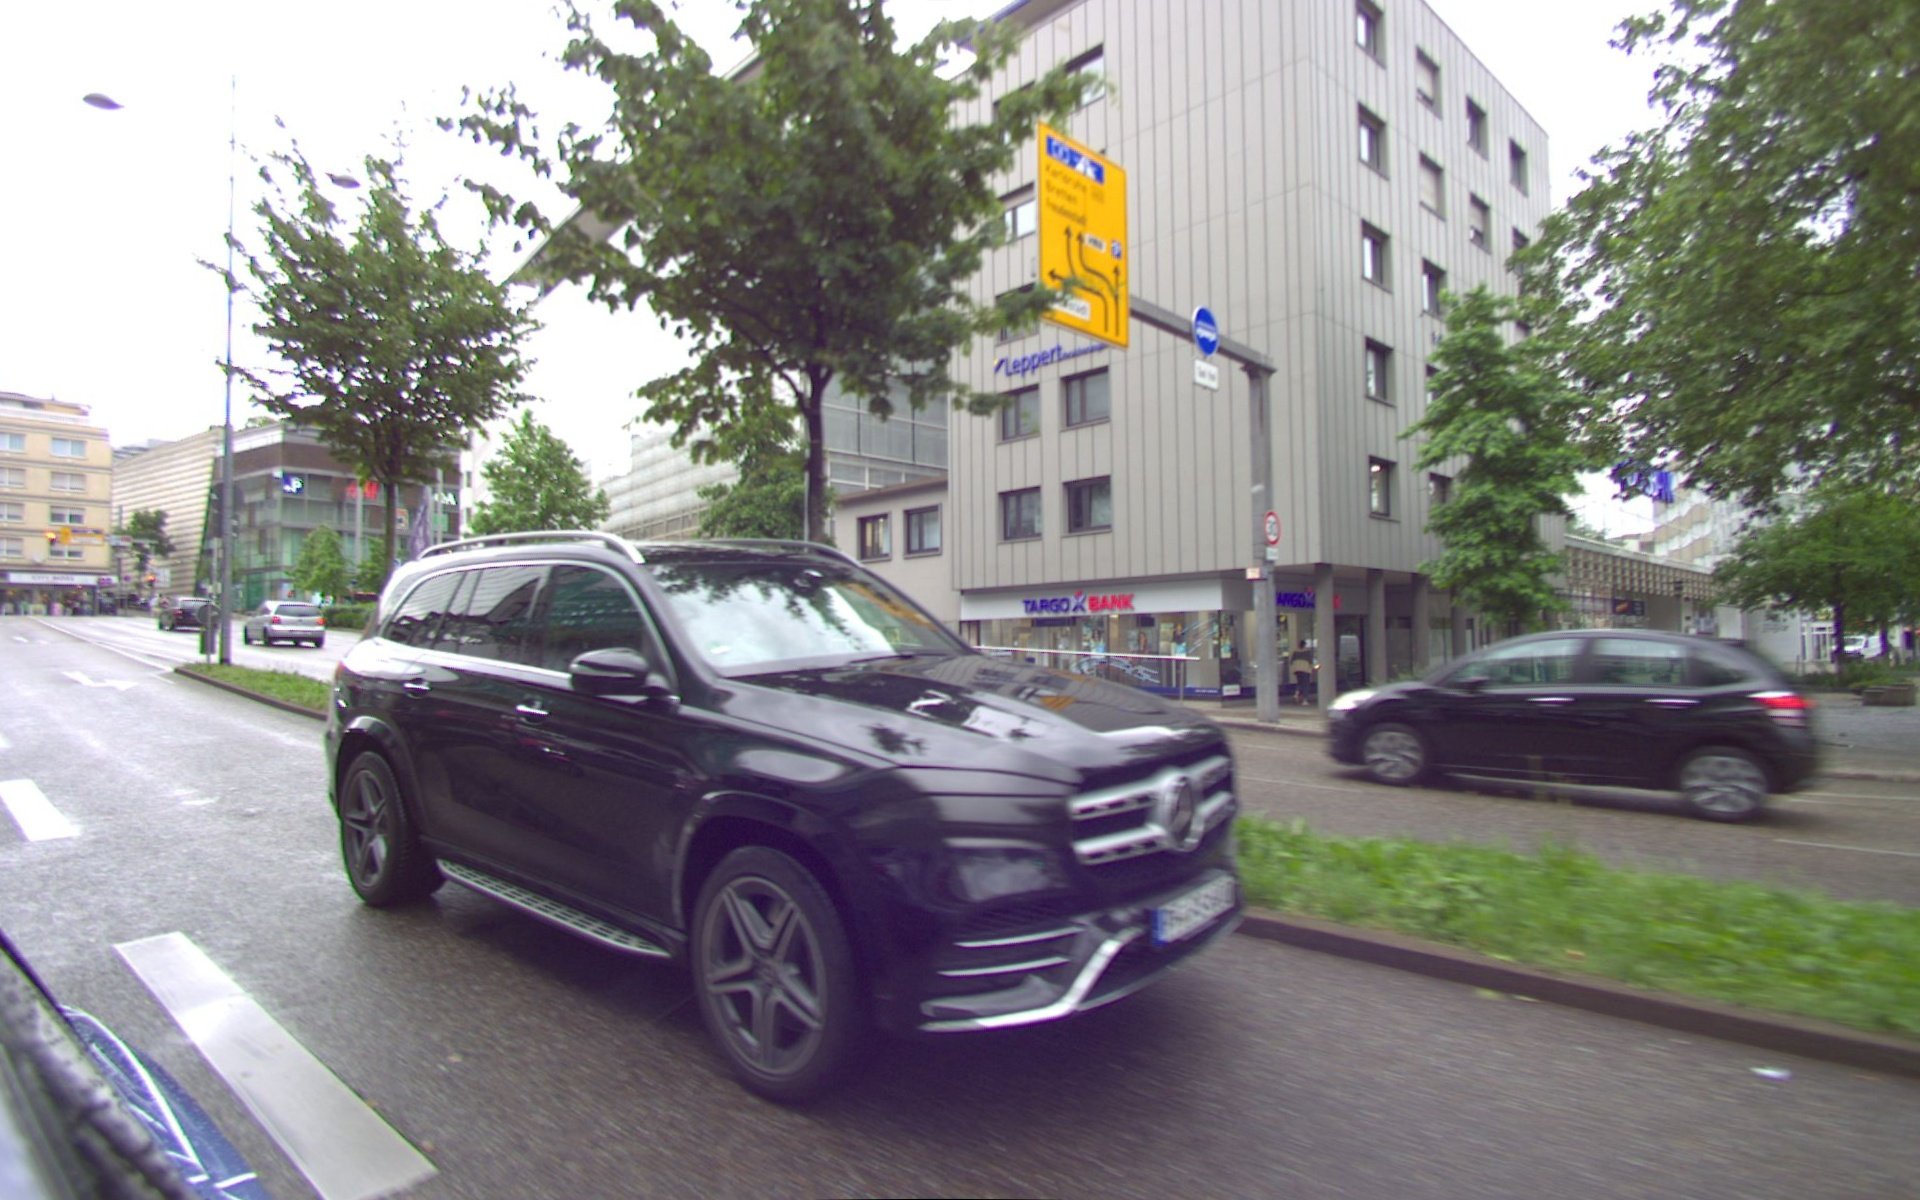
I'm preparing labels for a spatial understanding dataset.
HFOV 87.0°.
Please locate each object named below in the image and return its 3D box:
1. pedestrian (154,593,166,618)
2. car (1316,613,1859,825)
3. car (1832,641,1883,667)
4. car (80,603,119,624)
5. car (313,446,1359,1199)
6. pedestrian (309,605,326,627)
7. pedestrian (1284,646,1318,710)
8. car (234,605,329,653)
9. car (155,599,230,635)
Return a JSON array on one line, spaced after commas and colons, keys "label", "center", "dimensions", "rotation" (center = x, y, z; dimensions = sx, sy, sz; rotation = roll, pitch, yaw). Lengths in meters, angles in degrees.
[{"label": "pedestrian", "center": [-59.474, 0.426, 75.198], "dimensions": [0.588, 1.855, 0.598], "rotation": [0, 0, 41]}, {"label": "car", "center": [5.402, 0.945, 9.078], "dimensions": [3.876, 1.503, 1.602], "rotation": [-2, -5, 40]}, {"label": "car", "center": [65.196, 3.895, 73.498], "dimensions": [3.746, 1.763, 1.922], "rotation": [1, -1, -34]}, {"label": "car", "center": [-85.964, 1.361, 101.131], "dimensions": [3.990, 2.029, 1.977], "rotation": [0, 1, 34]}, {"label": "car", "center": [-1.000, 0.533, 4.600], "dimensions": [4.883, 1.791, 1.973], "rotation": [0, 1, 41]}, {"label": "pedestrian", "center": [-55.049, 1.364, 86.763], "dimensions": [0.735, 1.913, 0.977], "rotation": [0, 0, 24]}, {"label": "pedestrian", "center": [9.186, 2.086, 27.255], "dimensions": [0.613, 1.669, 0.633], "rotation": [3, -2, -44]}, {"label": "car", "center": [-22.225, 0.922, 33.104], "dimensions": [3.645, 1.448, 1.608], "rotation": [1, -2, 40]}, {"label": "car", "center": [-33.953, 0.741, 44.728], "dimensions": [4.186, 1.520, 1.971], "rotation": [0, -1, 44]}]
